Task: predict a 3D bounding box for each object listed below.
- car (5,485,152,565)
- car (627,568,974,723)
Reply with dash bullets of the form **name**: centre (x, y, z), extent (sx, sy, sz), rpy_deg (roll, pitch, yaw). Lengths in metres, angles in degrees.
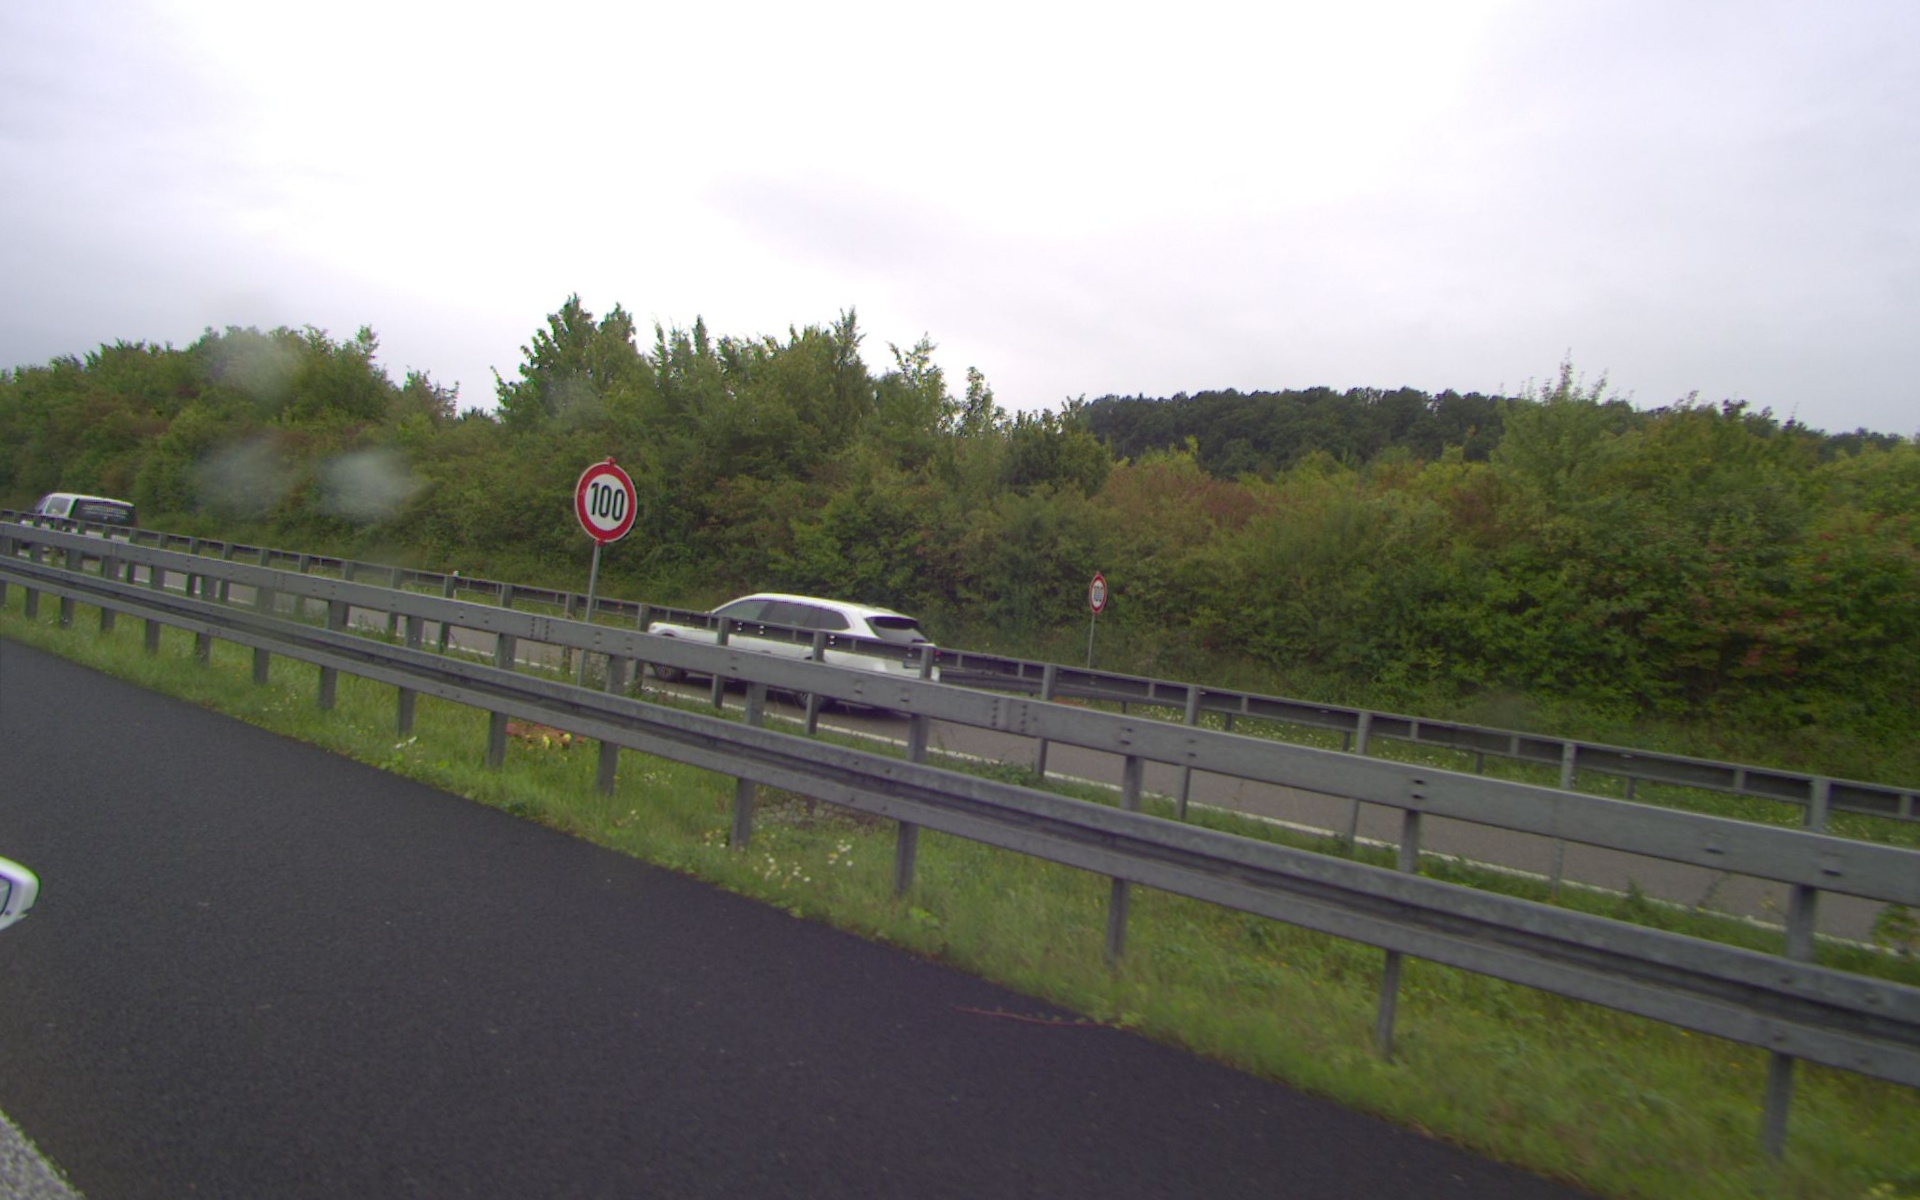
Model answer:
- **car**: centre (-26.019, -2.215, 29.651), extent (4.570, 1.826, 1.863), rpy_deg (7, -1, 32)
- **car**: centre (-2.361, 0.621, 14.587), extent (4.616, 1.566, 2.012), rpy_deg (7, -1, 30)
